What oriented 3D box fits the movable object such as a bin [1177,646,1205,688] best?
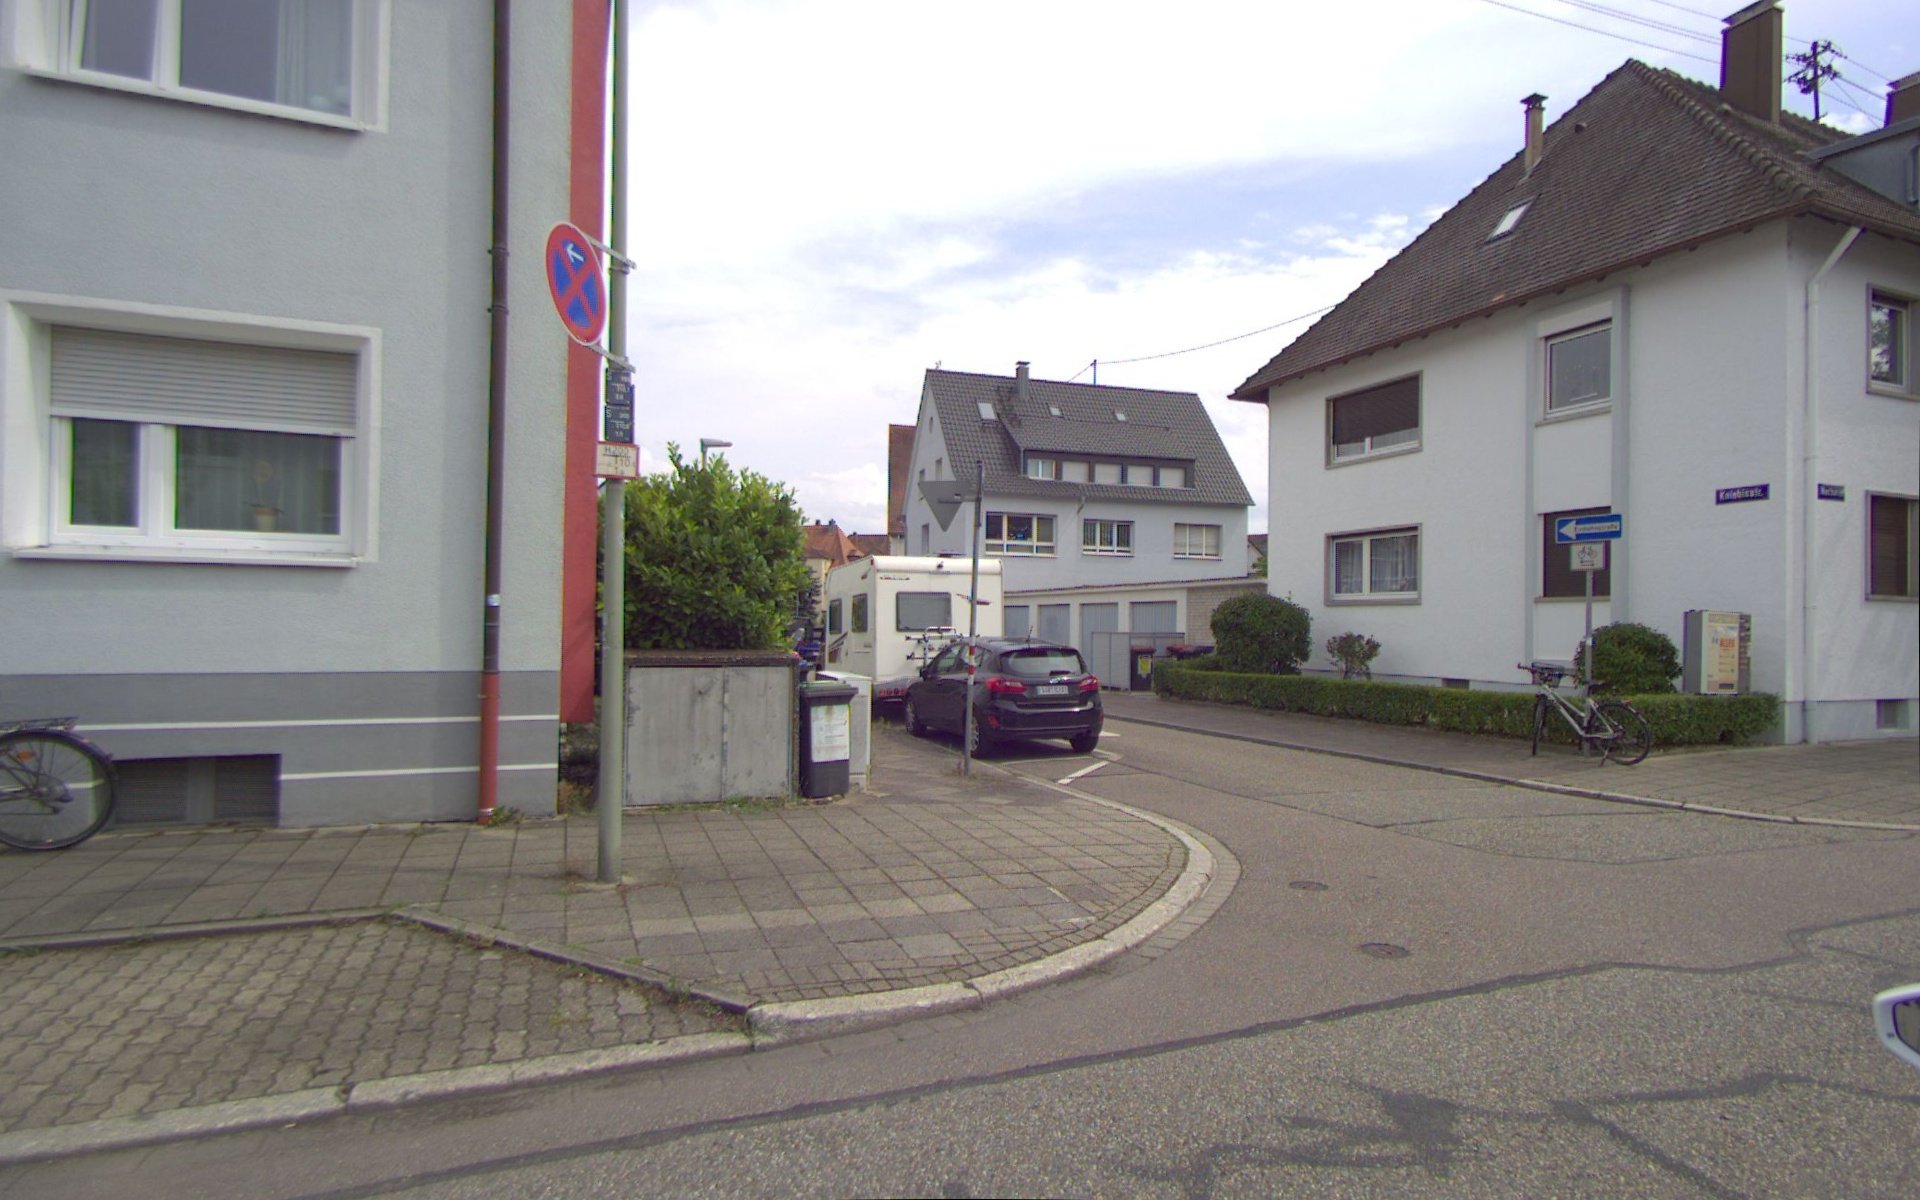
[{"bbox_3d":[5.516,1.588,23.962,0.448,0.986,0.505,1,-3,-20],"label":"movable object such as a bin"}]

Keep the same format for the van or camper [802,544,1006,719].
[{"bbox_3d":[-1.325,0.681,19.170,2.374,2.760,6.139,1,-3,-18],"label":"van or camper"}]

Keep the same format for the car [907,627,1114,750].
[{"bbox_3d":[0.536,1.148,13.801,1.638,1.441,3.755,1,-3,-18],"label":"car"}]

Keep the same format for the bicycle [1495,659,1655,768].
[{"bbox_3d":[7.228,1.295,11.891,0.429,1.194,1.629,1,-3,-25],"label":"bicycle"}]

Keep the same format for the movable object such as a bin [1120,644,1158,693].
[{"bbox_3d":[4.292,1.628,24.115,0.573,1.152,0.751,1,-3,-21],"label":"movable object such as a bin"}]

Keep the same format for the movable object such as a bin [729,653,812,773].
[{"bbox_3d":[-1.900,1.108,10.079,0.670,1.146,0.590,2,-3,-28],"label":"movable object such as a bin"}]

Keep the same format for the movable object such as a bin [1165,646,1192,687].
[{"bbox_3d":[5.323,1.623,24.514,0.448,0.986,0.505,1,-3,-20],"label":"movable object such as a bin"}]

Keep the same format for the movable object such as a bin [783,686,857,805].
[{"bbox_3d":[-1.152,1.172,8.247,0.470,0.918,0.484,2,-3,-28],"label":"movable object such as a bin"}]

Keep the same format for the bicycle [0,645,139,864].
[{"bbox_3d":[-5.693,0.829,5.421,1.846,1.168,0.489,1,-3,-23],"label":"bicycle"}]
